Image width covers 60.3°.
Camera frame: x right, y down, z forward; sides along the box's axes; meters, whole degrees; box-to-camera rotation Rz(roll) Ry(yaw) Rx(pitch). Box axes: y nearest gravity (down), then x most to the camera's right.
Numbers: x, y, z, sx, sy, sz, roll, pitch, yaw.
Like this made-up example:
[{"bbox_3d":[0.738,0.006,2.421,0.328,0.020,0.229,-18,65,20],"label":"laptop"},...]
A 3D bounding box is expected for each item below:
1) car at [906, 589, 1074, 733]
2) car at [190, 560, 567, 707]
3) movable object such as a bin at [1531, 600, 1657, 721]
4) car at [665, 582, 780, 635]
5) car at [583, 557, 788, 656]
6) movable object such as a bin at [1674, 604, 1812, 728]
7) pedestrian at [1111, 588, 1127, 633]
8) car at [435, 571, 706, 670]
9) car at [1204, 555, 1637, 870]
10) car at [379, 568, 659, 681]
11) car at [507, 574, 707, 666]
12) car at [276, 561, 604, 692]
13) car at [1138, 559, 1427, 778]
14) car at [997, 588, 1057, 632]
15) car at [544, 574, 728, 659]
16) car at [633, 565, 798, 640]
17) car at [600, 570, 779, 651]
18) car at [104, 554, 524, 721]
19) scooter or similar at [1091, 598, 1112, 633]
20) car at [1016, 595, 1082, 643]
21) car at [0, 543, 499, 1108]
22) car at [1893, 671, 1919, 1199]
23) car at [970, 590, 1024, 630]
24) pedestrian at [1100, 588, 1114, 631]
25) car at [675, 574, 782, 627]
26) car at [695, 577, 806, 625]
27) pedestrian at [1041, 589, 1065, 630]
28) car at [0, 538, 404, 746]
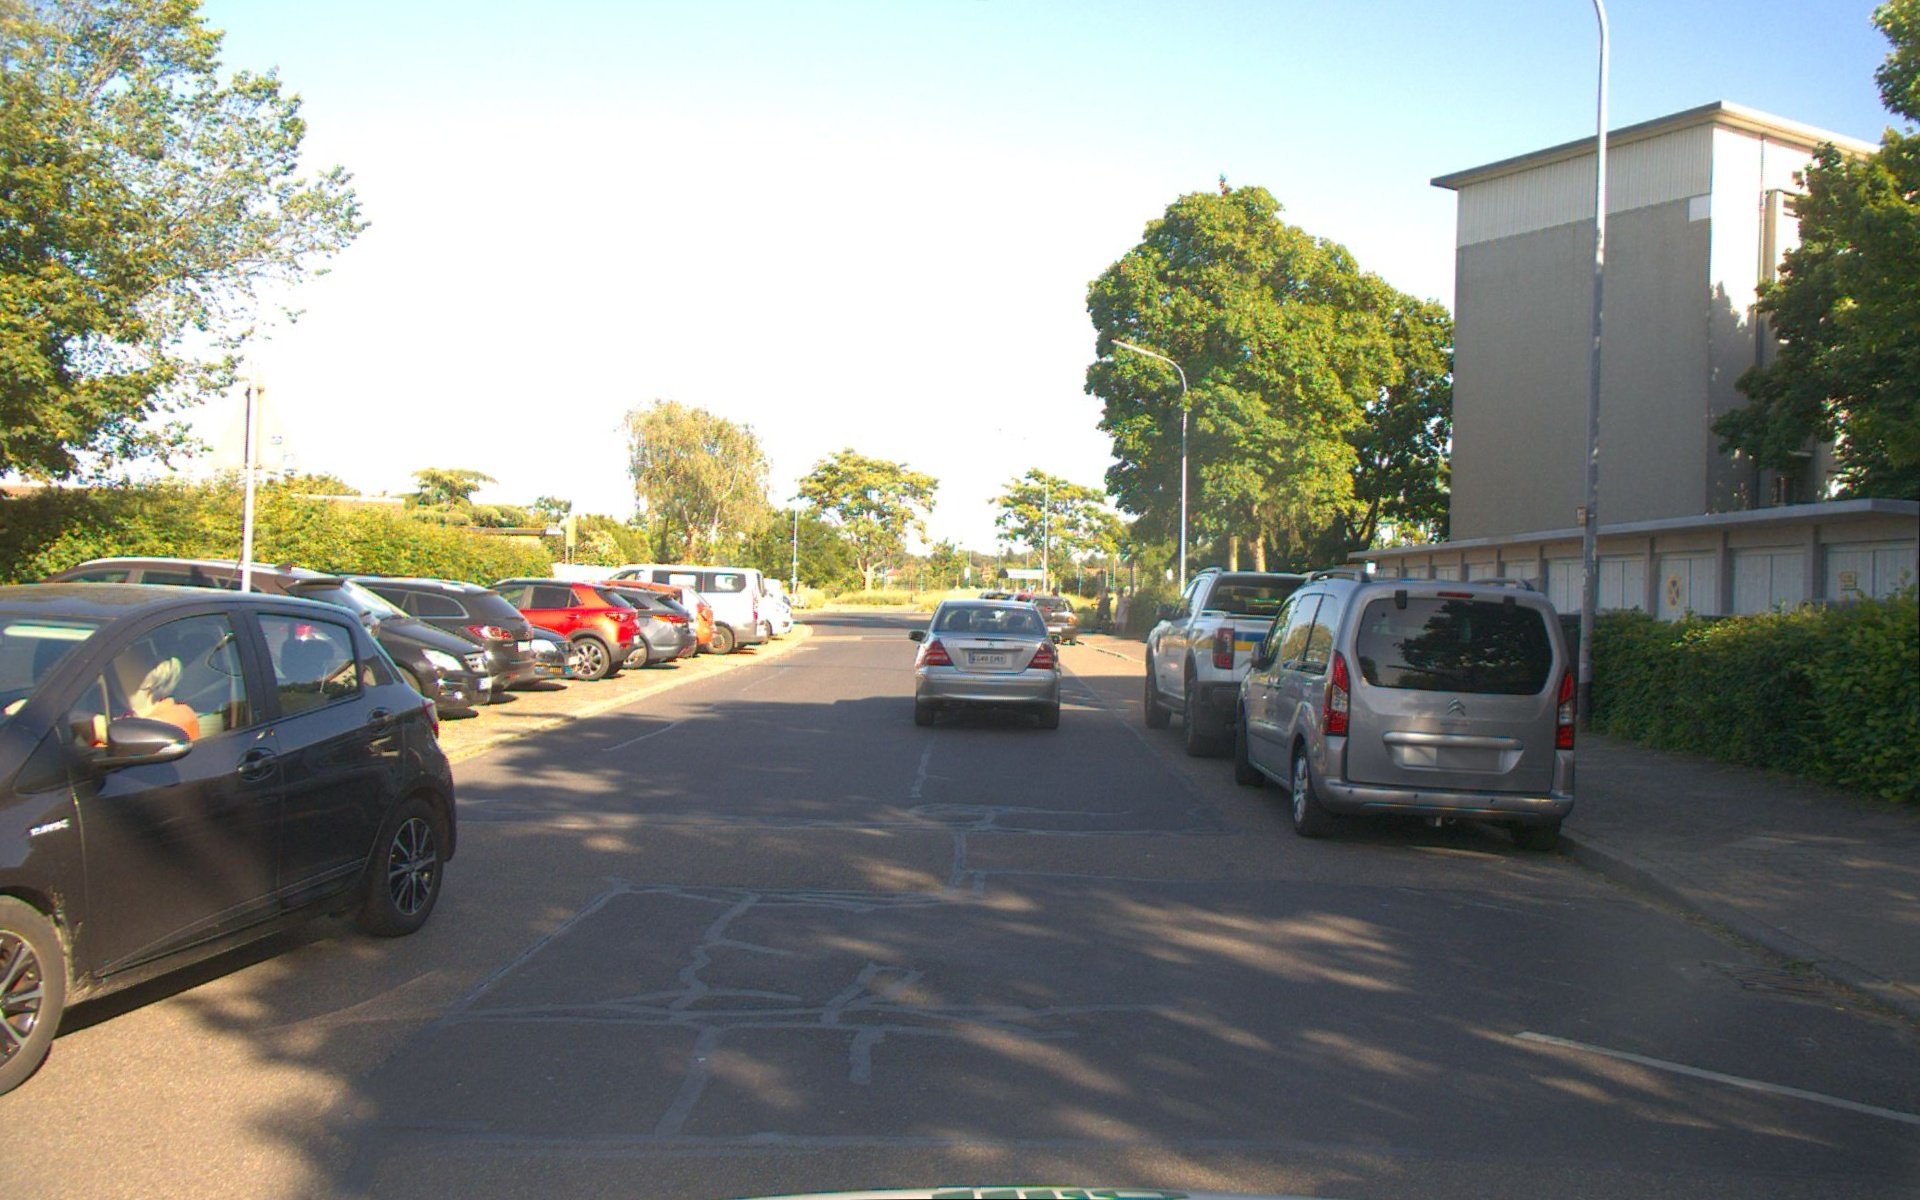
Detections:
[{"bbox_3d":[0.371,0.645,20.203,1.779,1.488,4.361,2,0,1],"label":"car"},{"bbox_3d":[-7.186,0.410,20.751,4.010,1.539,1.812,3,-1,-2],"label":"car"},{"bbox_3d":[7.554,0.713,19.765,1.223,1.371,1.054,1,-1,11],"label":"movable object such as a bin"},{"bbox_3d":[-7.641,0.270,53.396,3.443,1.471,1.636,3,-1,-2],"label":"car"},{"bbox_3d":[-6.386,0.151,38.884,4.389,2.011,1.999,3,-1,-2],"label":"car"},{"bbox_3d":[9.115,0.759,19.312,1.223,1.371,1.054,1,-1,11],"label":"movable object such as a bin"},{"bbox_3d":[5.739,0.381,59.848,0.476,1.592,0.468,0,-1,-8],"label":"pedestrian"},{"bbox_3d":[-7.040,0.358,30.190,4.451,1.505,1.747,3,1,0],"label":"car"},{"bbox_3d":[3.141,0.644,12.341,1.796,1.822,4.554,3,1,-1],"label":"car"},{"bbox_3d":[-6.937,0.363,26.311,3.906,1.505,1.791,3,1,0],"label":"car"},{"bbox_3d":[-7.046,0.382,33.257,3.529,1.594,1.881,3,1,0],"label":"car"},{"bbox_3d":[-7.209,0.370,23.244,3.938,1.539,1.905,3,-1,-2],"label":"car"},{"bbox_3d":[3.185,0.576,17.522,1.868,1.872,5.274,3,1,-1],"label":"car"},{"bbox_3d":[2.374,0.357,59.280,1.545,1.471,3.783,2,0,-6],"label":"car"},{"bbox_3d":[-6.962,0.337,35.762,3.529,1.594,1.852,3,1,0],"label":"car"},{"bbox_3d":[-7.395,0.089,50.432,4.695,1.954,2.080,3,-1,-4],"label":"car"},{"bbox_3d":[-6.718,0.269,41.389,4.067,1.735,1.883,3,-1,-1],"label":"car"},{"bbox_3d":[-7.121,0.411,18.551,3.907,1.559,1.831,3,-1,-2],"label":"car"},{"bbox_3d":[5.137,0.559,59.922,0.610,1.249,0.904,0,-1,-5],"label":"scooter or similar"},{"bbox_3d":[2.746,0.583,51.651,1.614,1.427,3.879,1,0,-3],"label":"car"},{"bbox_3d":[-3.296,0.646,6.004,1.614,1.583,4.005,0,-1,9],"label":"car"},{"bbox_3d":[3.030,0.769,1.721,1.768,1.621,4.023,3,0,-1],"label":"car"},{"bbox_3d":[1.522,0.420,69.113,1.698,1.570,3.783,2,0,-6],"label":"car"},{"bbox_3d":[5.416,0.345,60.924,0.471,1.592,0.597,0,-1,6],"label":"pedestrian"},{"bbox_3d":[-8.813,0.012,63.115,3.902,1.811,1.922,2,0,-8],"label":"car"},{"bbox_3d":[-9.345,0.061,73.636,4.782,1.949,1.996,2,0,-9],"label":"car"},{"bbox_3d":[3.692,0.384,65.661,0.772,1.592,0.569,3,-1,-5],"label":"pedestrian"},{"bbox_3d":[-7.646,0.350,15.604,4.103,1.685,1.846,3,-1,-3],"label":"car"}]
